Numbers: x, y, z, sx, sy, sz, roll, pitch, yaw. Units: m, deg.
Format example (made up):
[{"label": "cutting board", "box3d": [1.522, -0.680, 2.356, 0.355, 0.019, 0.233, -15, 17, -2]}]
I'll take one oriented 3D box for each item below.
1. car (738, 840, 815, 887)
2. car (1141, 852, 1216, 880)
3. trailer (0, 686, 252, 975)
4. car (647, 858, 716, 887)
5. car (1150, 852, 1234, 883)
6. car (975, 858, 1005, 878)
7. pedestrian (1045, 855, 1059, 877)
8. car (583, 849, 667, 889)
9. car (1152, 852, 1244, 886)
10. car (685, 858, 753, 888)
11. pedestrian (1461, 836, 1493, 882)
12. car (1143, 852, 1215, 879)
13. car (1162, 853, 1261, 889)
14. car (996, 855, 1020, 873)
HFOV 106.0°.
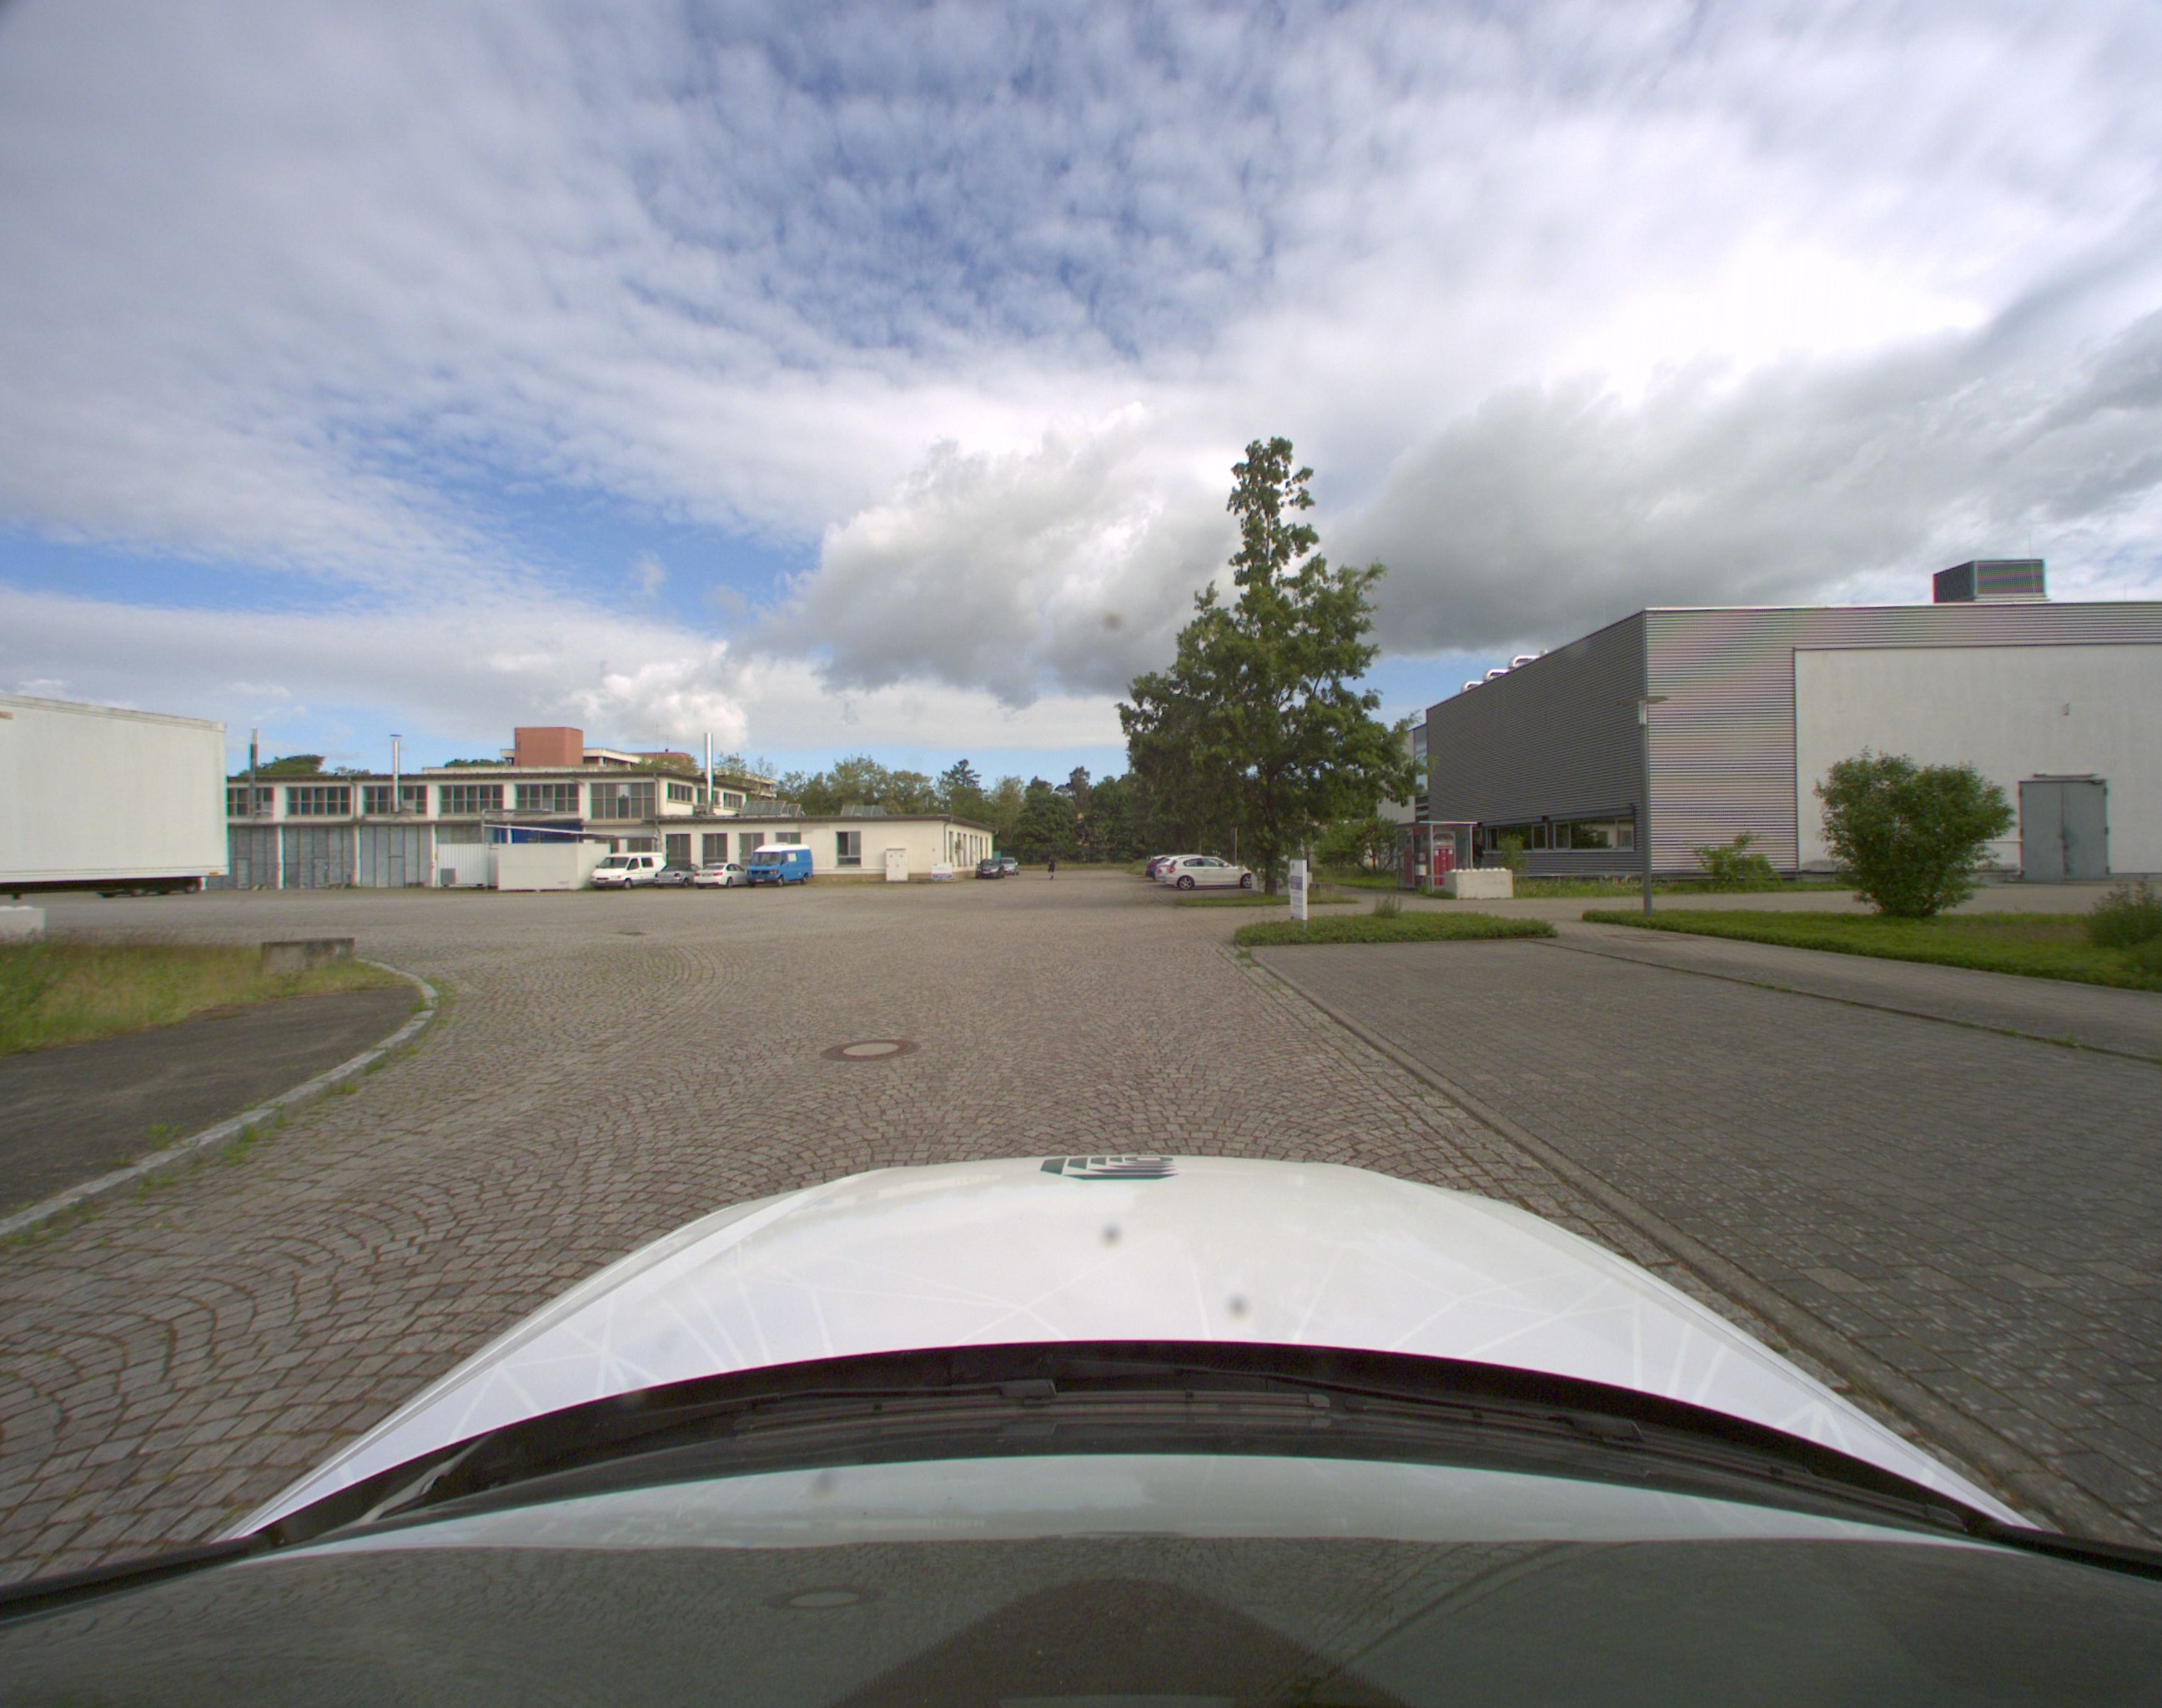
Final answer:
[{"label": "car", "box3d": [-17.713, 0.535, 47.764, 1.984, 2.523, 5.625, -1, 0, 5]}, {"label": "car", "box3d": [5.385, 0.668, 45.194, 3.972, 1.455, 1.770, -1, 0, 1]}, {"label": "trailer", "box3d": [-15.317, -0.288, 8.106, 2.645, 3.706, 10.731, -1, 0, 4]}, {"label": "car", "box3d": [-23.223, 1.044, 47.533, 1.893, 1.575, 4.003, -1, 0, 3]}, {"label": "car", "box3d": [5.444, 0.666, 40.288, 3.972, 1.455, 1.770, -1, 0, 1]}, {"label": "car", "box3d": [-6.570, 0.986, 59.209, 1.744, 1.364, 3.998, -1, 0, -1]}, {"label": "pedestrian", "box3d": [-2.073, 0.900, 59.114, 0.936, 1.568, 0.971, -1, -1, 2]}, {"label": "car", "box3d": [-26.245, 0.838, 47.092, 1.892, 2.206, 4.787, -1, 0, 4]}, {"label": "car", "box3d": [5.314, 0.693, 37.248, 3.972, 1.455, 1.698, -1, 0, 1]}, {"label": "car", "box3d": [-20.589, 1.053, 46.519, 1.893, 1.575, 4.003, -1, 0, 3]}, {"label": "pedestrian", "box3d": [17.154, 0.223, 35.266, 0.922, 1.936, 0.847, 0, -1, -29]}, {"label": "car", "box3d": [5.788, 0.675, 48.404, 3.977, 1.533, 1.998, -1, 0, -3]}, {"label": "car", "box3d": [5.556, 0.730, 35.075, 3.972, 1.455, 2.000, 0, -1, 1]}, {"label": "car", "box3d": [-6.207, 0.850, 69.441, 1.744, 1.454, 3.998, -1, 0, -1]}]
